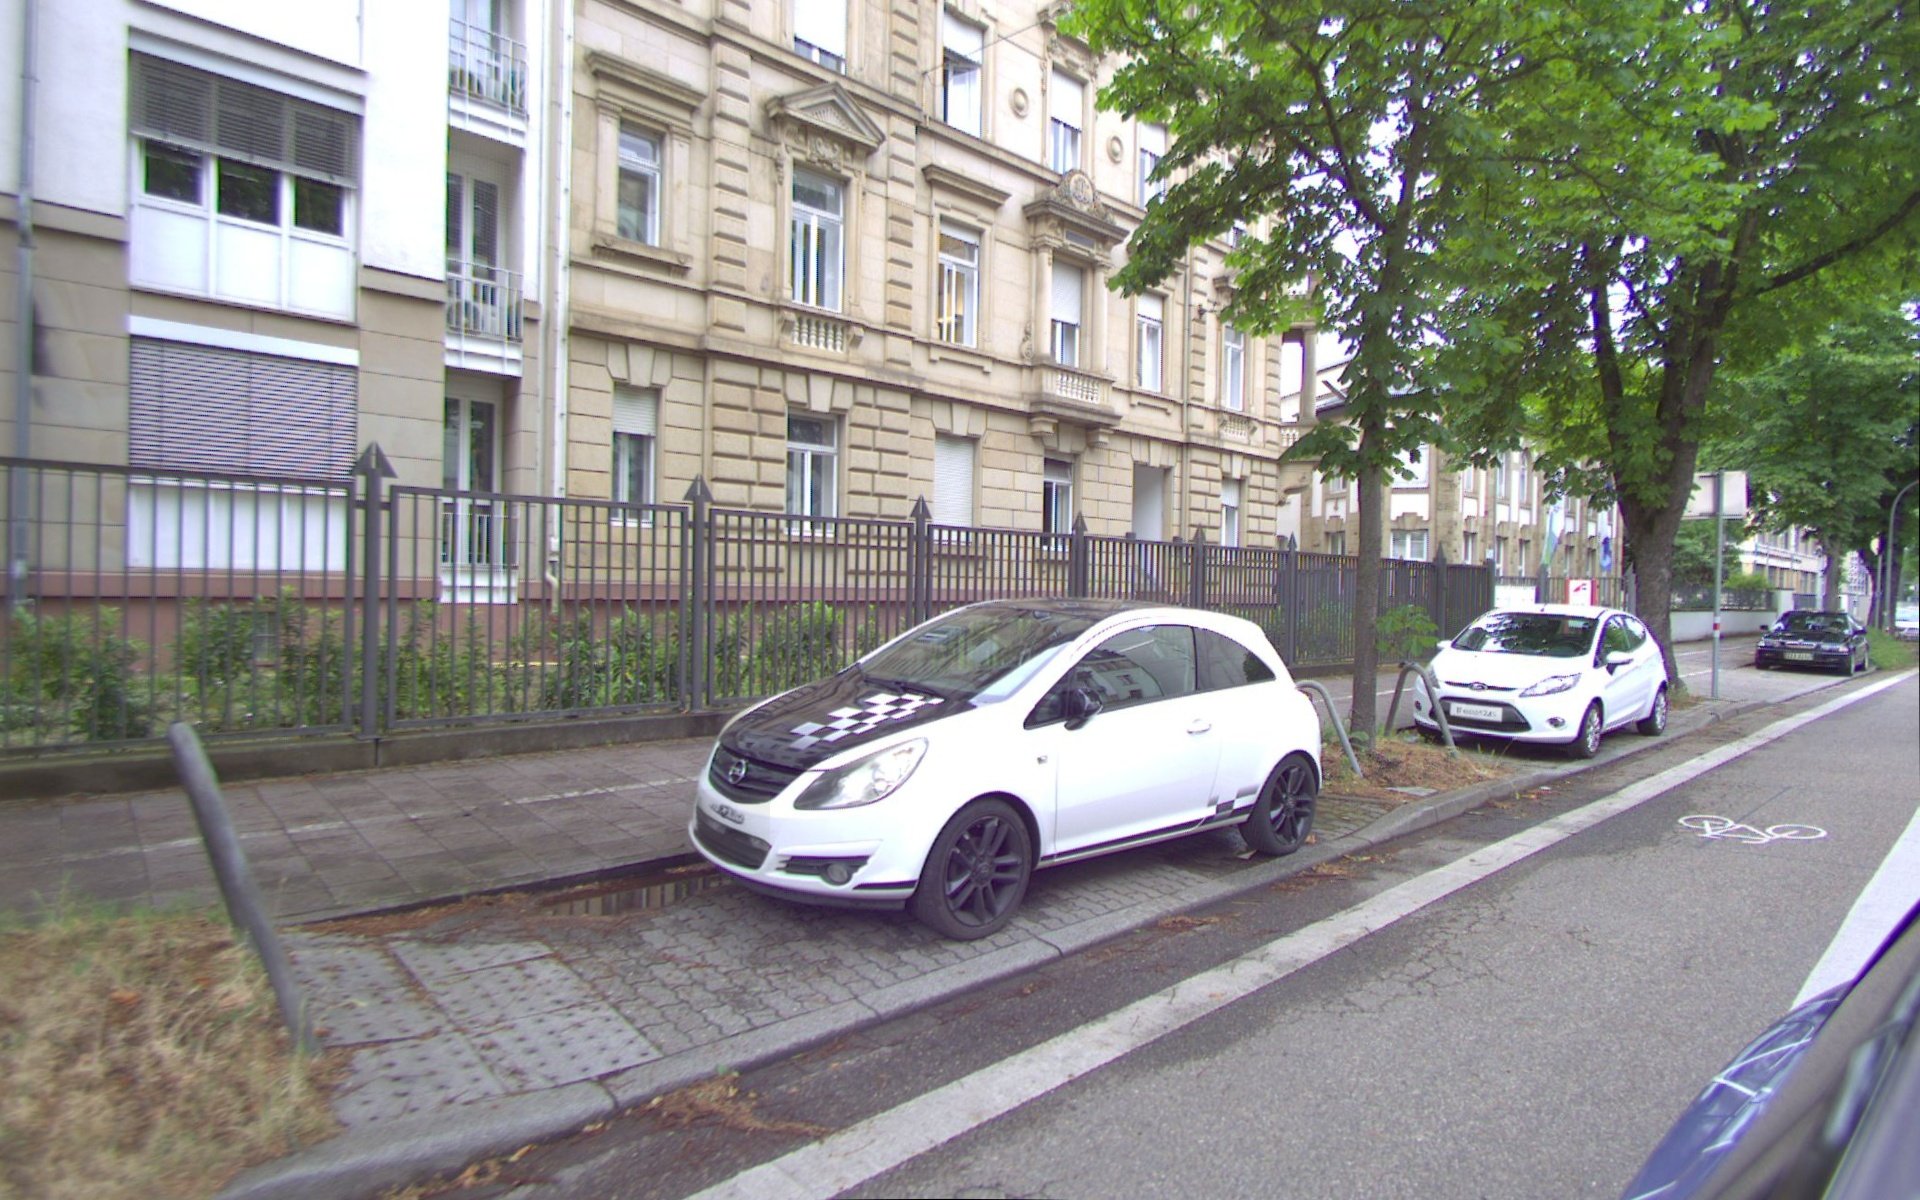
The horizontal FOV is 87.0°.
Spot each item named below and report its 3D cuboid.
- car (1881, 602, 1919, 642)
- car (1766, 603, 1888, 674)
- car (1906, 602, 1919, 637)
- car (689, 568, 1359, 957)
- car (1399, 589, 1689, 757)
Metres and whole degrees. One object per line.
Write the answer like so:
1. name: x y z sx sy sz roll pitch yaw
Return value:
1. car: 36.225 0.828 38.313 3.771 1.387 1.605 0 3 -42
2. car: 20.015 0.823 23.329 3.771 1.387 1.605 0 3 -42
3. car: 41.635 0.857 43.087 3.771 1.442 1.605 0 3 -42
4. car: 0.557 0.621 5.756 3.710 1.453 1.605 0 3 -41
5. car: 6.488 0.666 11.095 3.699 1.453 1.630 0 3 -42
